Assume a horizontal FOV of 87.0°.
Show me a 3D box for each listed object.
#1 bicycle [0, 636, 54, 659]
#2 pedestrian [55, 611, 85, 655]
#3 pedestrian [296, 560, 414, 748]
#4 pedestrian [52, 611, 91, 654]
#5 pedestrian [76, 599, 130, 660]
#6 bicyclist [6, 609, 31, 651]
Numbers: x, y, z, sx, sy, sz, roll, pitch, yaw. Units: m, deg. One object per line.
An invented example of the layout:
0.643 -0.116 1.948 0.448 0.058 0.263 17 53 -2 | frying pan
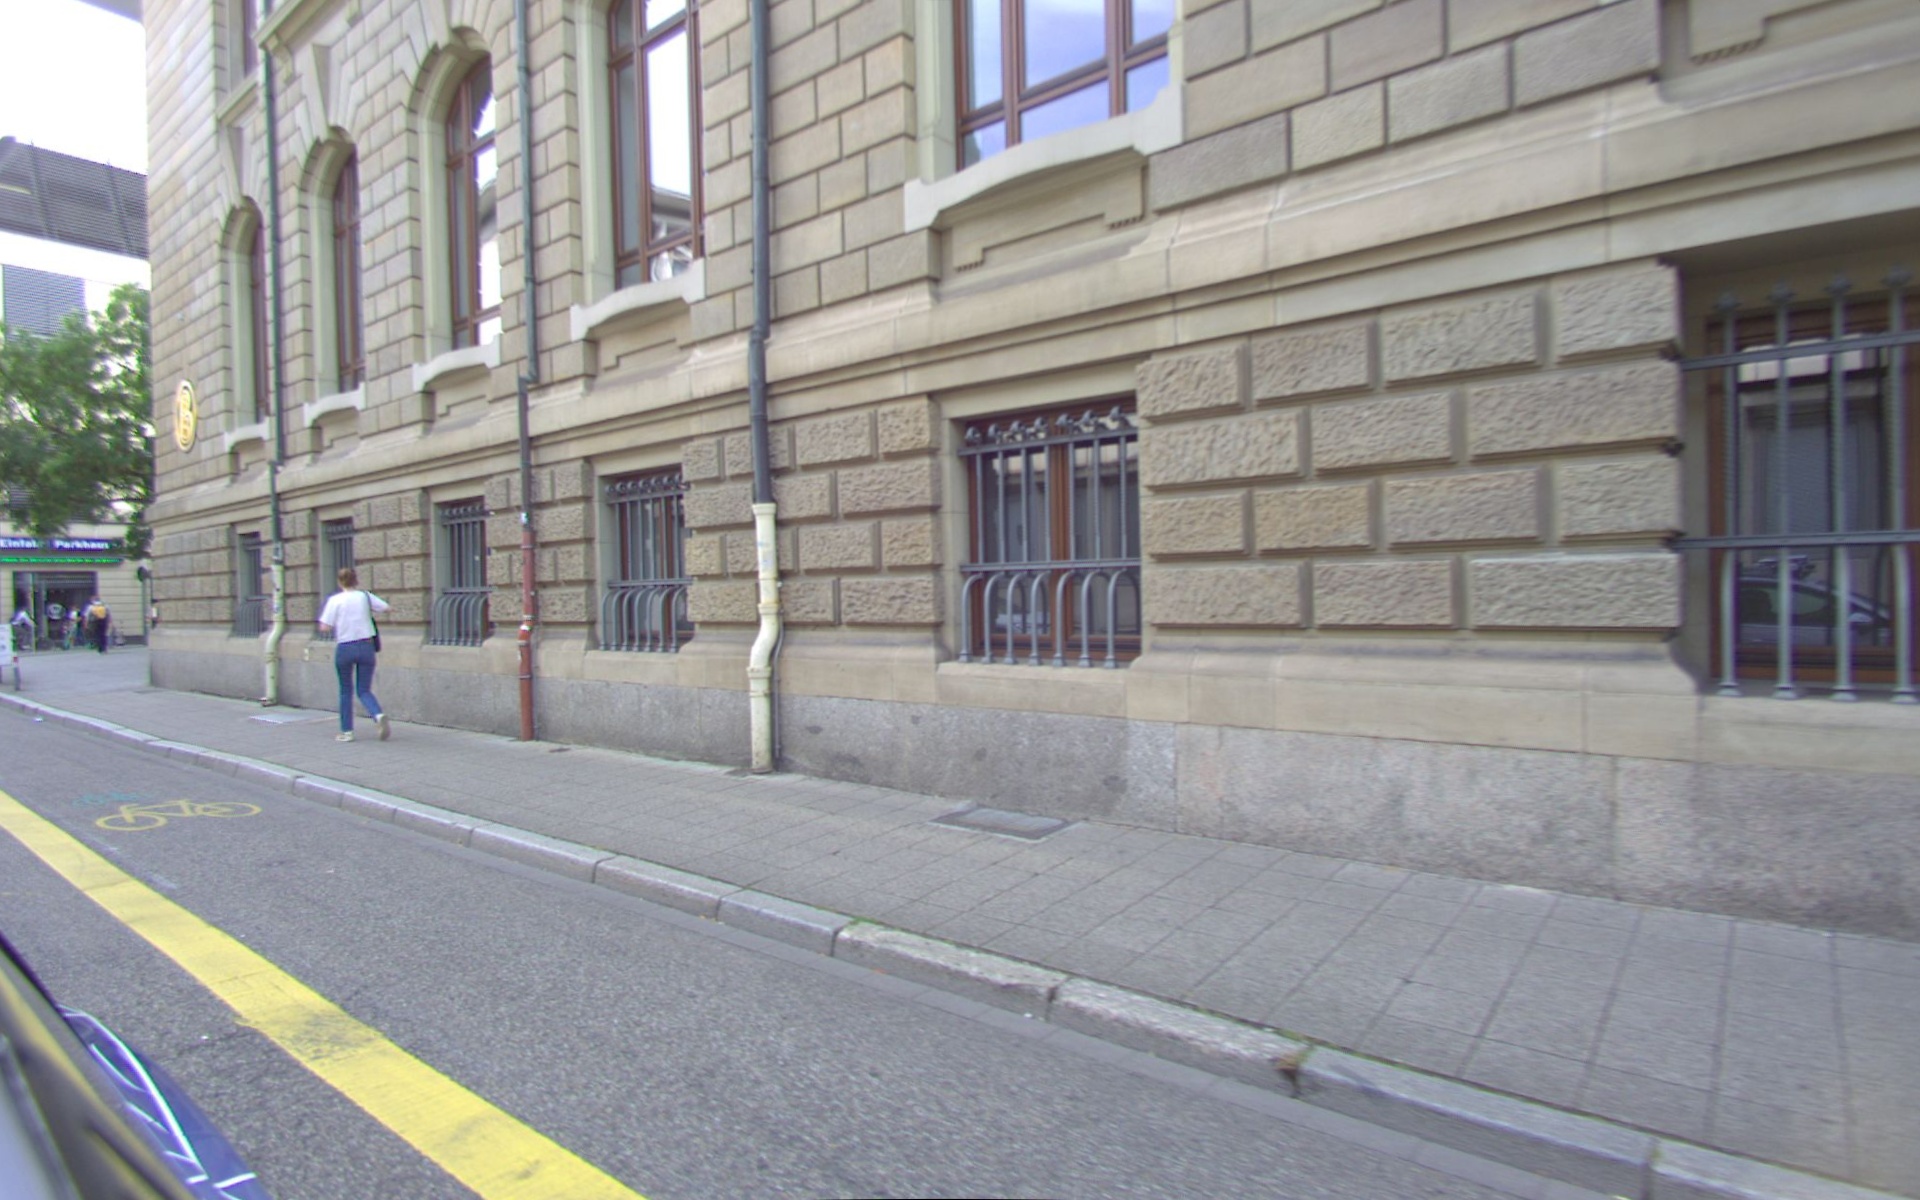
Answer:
-36.318 1.826 39.159 0.662 0.803 1.748 -1 0 35 | bicycle
-37.981 1.394 43.183 0.857 1.844 0.642 -1 0 26 | pedestrian
-6.291 0.526 10.515 1.047 1.833 0.657 -1 2 39 | pedestrian
-39.429 1.421 44.917 0.891 1.778 1.048 -1 3 36 | pedestrian
-25.894 0.881 30.582 0.818 1.732 1.016 -1 3 39 | pedestrian
-36.376 1.156 39.094 0.662 1.607 0.580 -1 0 36 | bicyclist
